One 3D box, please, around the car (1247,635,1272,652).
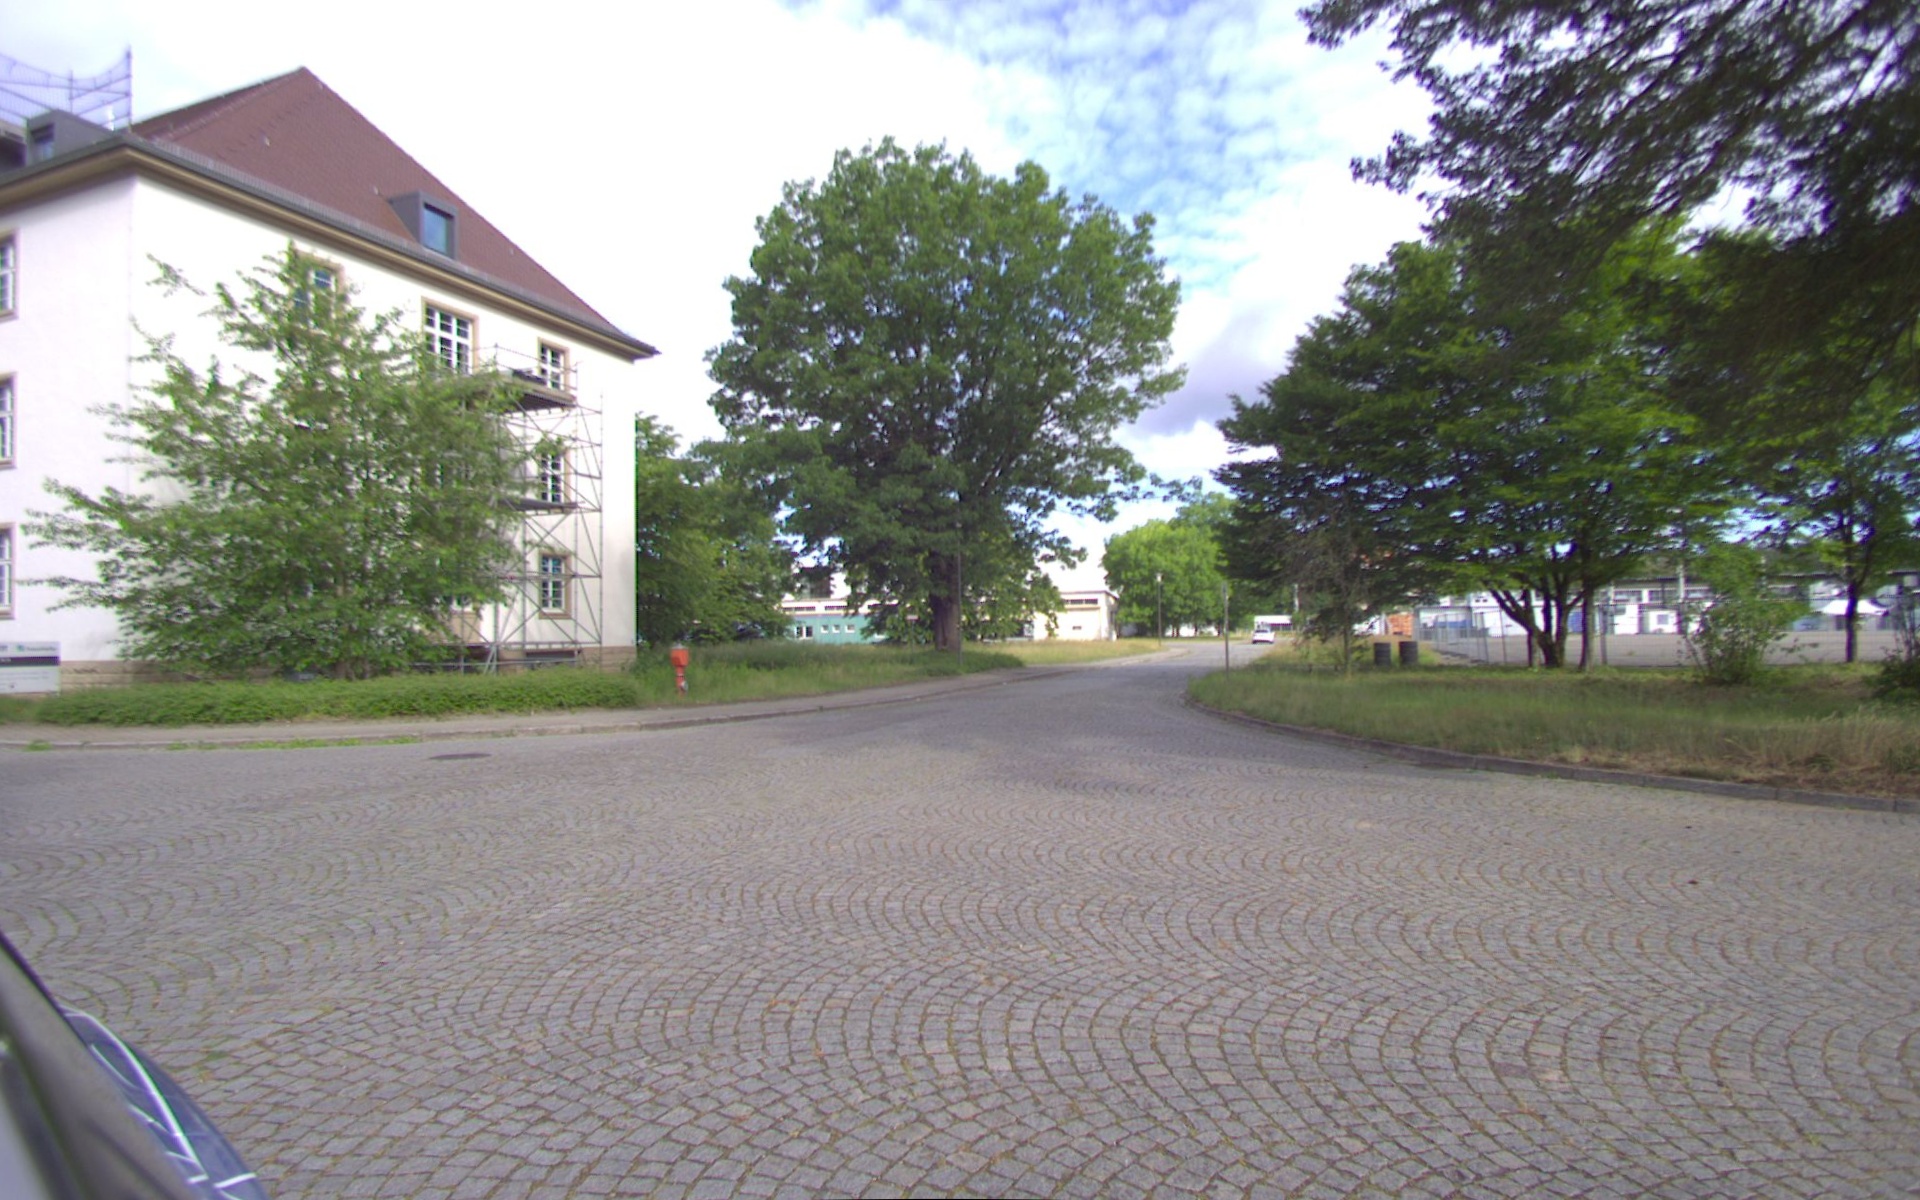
[{"bbox_3d":[27.785,4.035,93.901,1.841,1.448,4.674,-3,-2,20],"label":"car"}]
